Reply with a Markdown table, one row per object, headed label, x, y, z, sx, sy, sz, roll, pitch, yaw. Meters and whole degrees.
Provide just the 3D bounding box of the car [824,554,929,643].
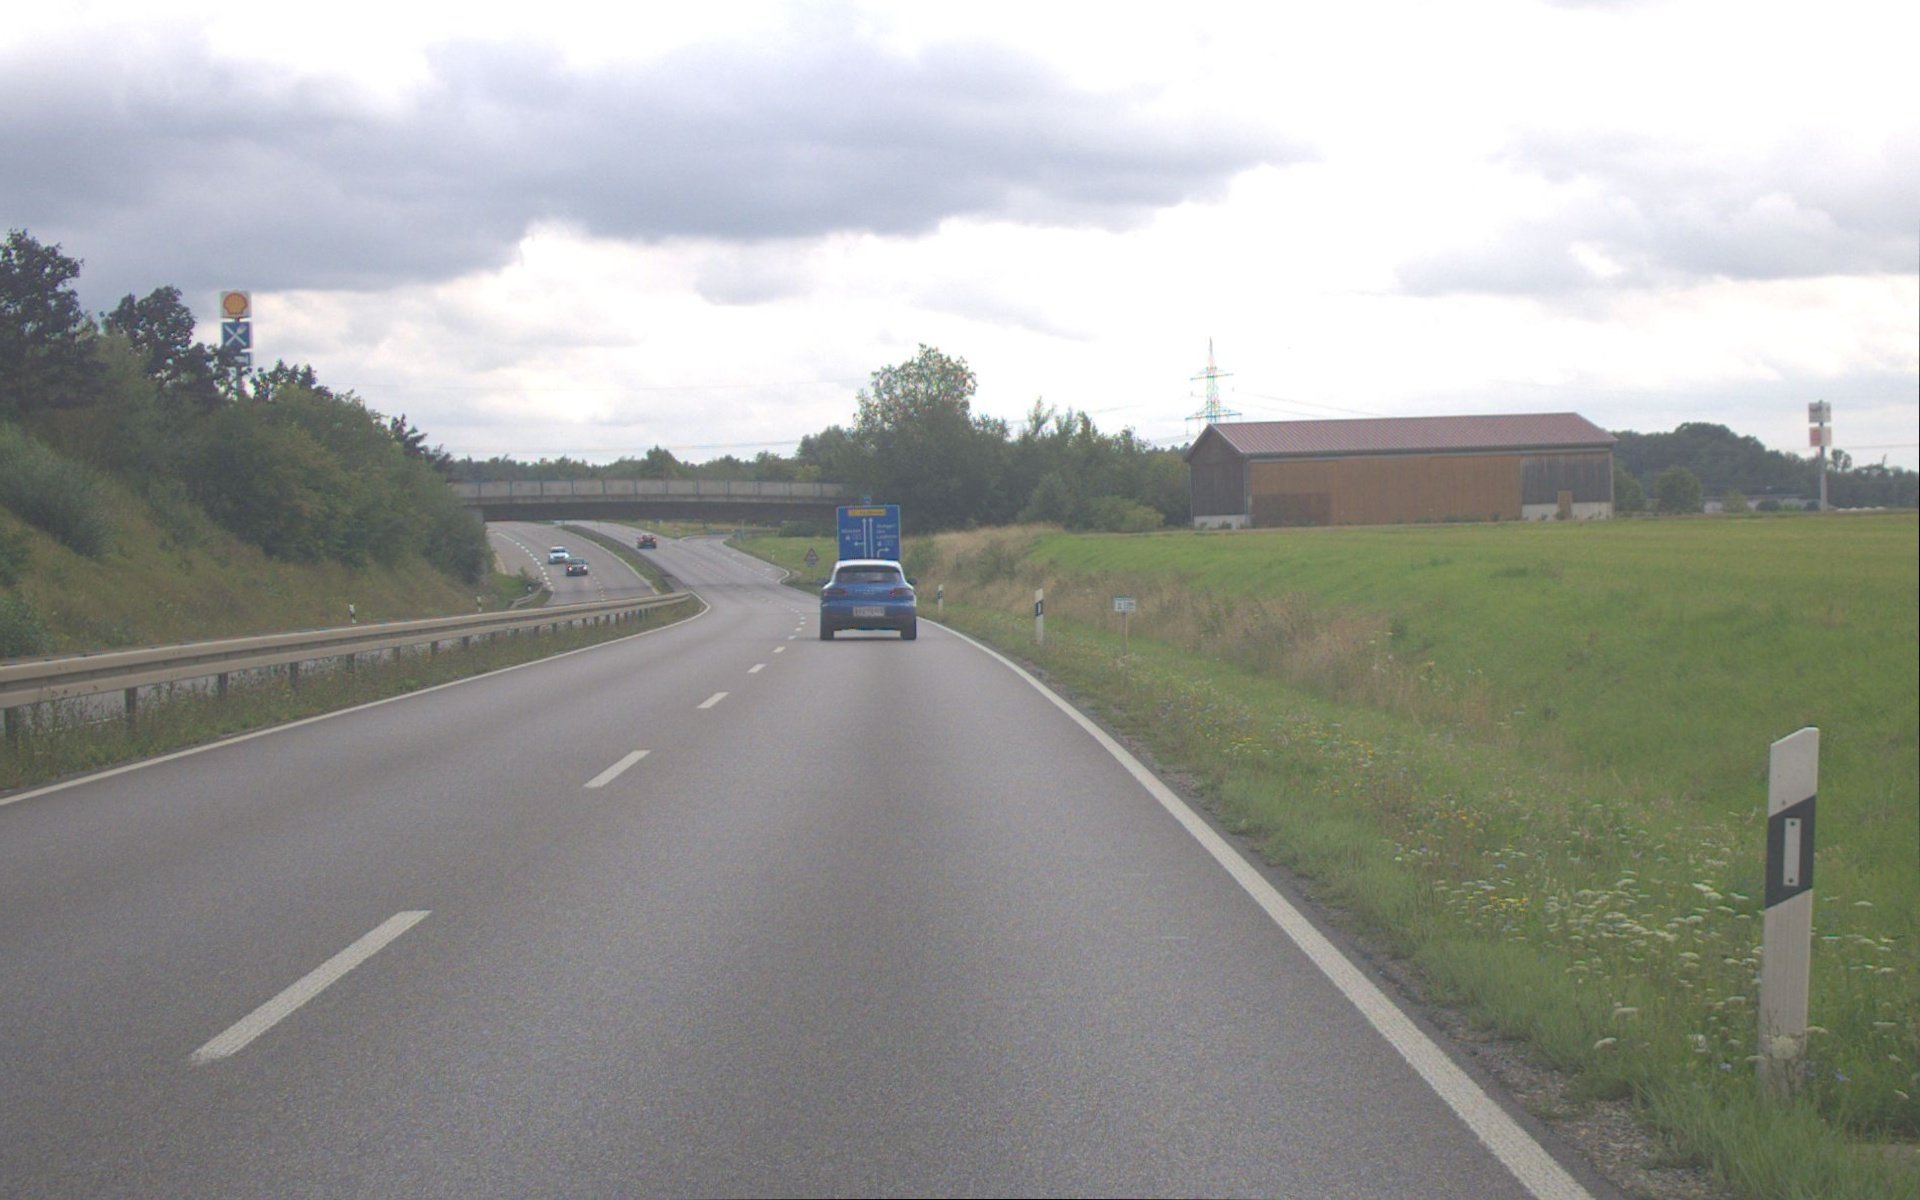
| label | x | y | z | sx | sy | sz | roll | pitch | yaw |
| --- | --- | --- | --- | --- | --- | --- | --- | --- | --- |
| car | -1.727 | -0.053 | 69.822 | 2.033 | 1.654 | 4.544 | 0 | 2 | -3 |
